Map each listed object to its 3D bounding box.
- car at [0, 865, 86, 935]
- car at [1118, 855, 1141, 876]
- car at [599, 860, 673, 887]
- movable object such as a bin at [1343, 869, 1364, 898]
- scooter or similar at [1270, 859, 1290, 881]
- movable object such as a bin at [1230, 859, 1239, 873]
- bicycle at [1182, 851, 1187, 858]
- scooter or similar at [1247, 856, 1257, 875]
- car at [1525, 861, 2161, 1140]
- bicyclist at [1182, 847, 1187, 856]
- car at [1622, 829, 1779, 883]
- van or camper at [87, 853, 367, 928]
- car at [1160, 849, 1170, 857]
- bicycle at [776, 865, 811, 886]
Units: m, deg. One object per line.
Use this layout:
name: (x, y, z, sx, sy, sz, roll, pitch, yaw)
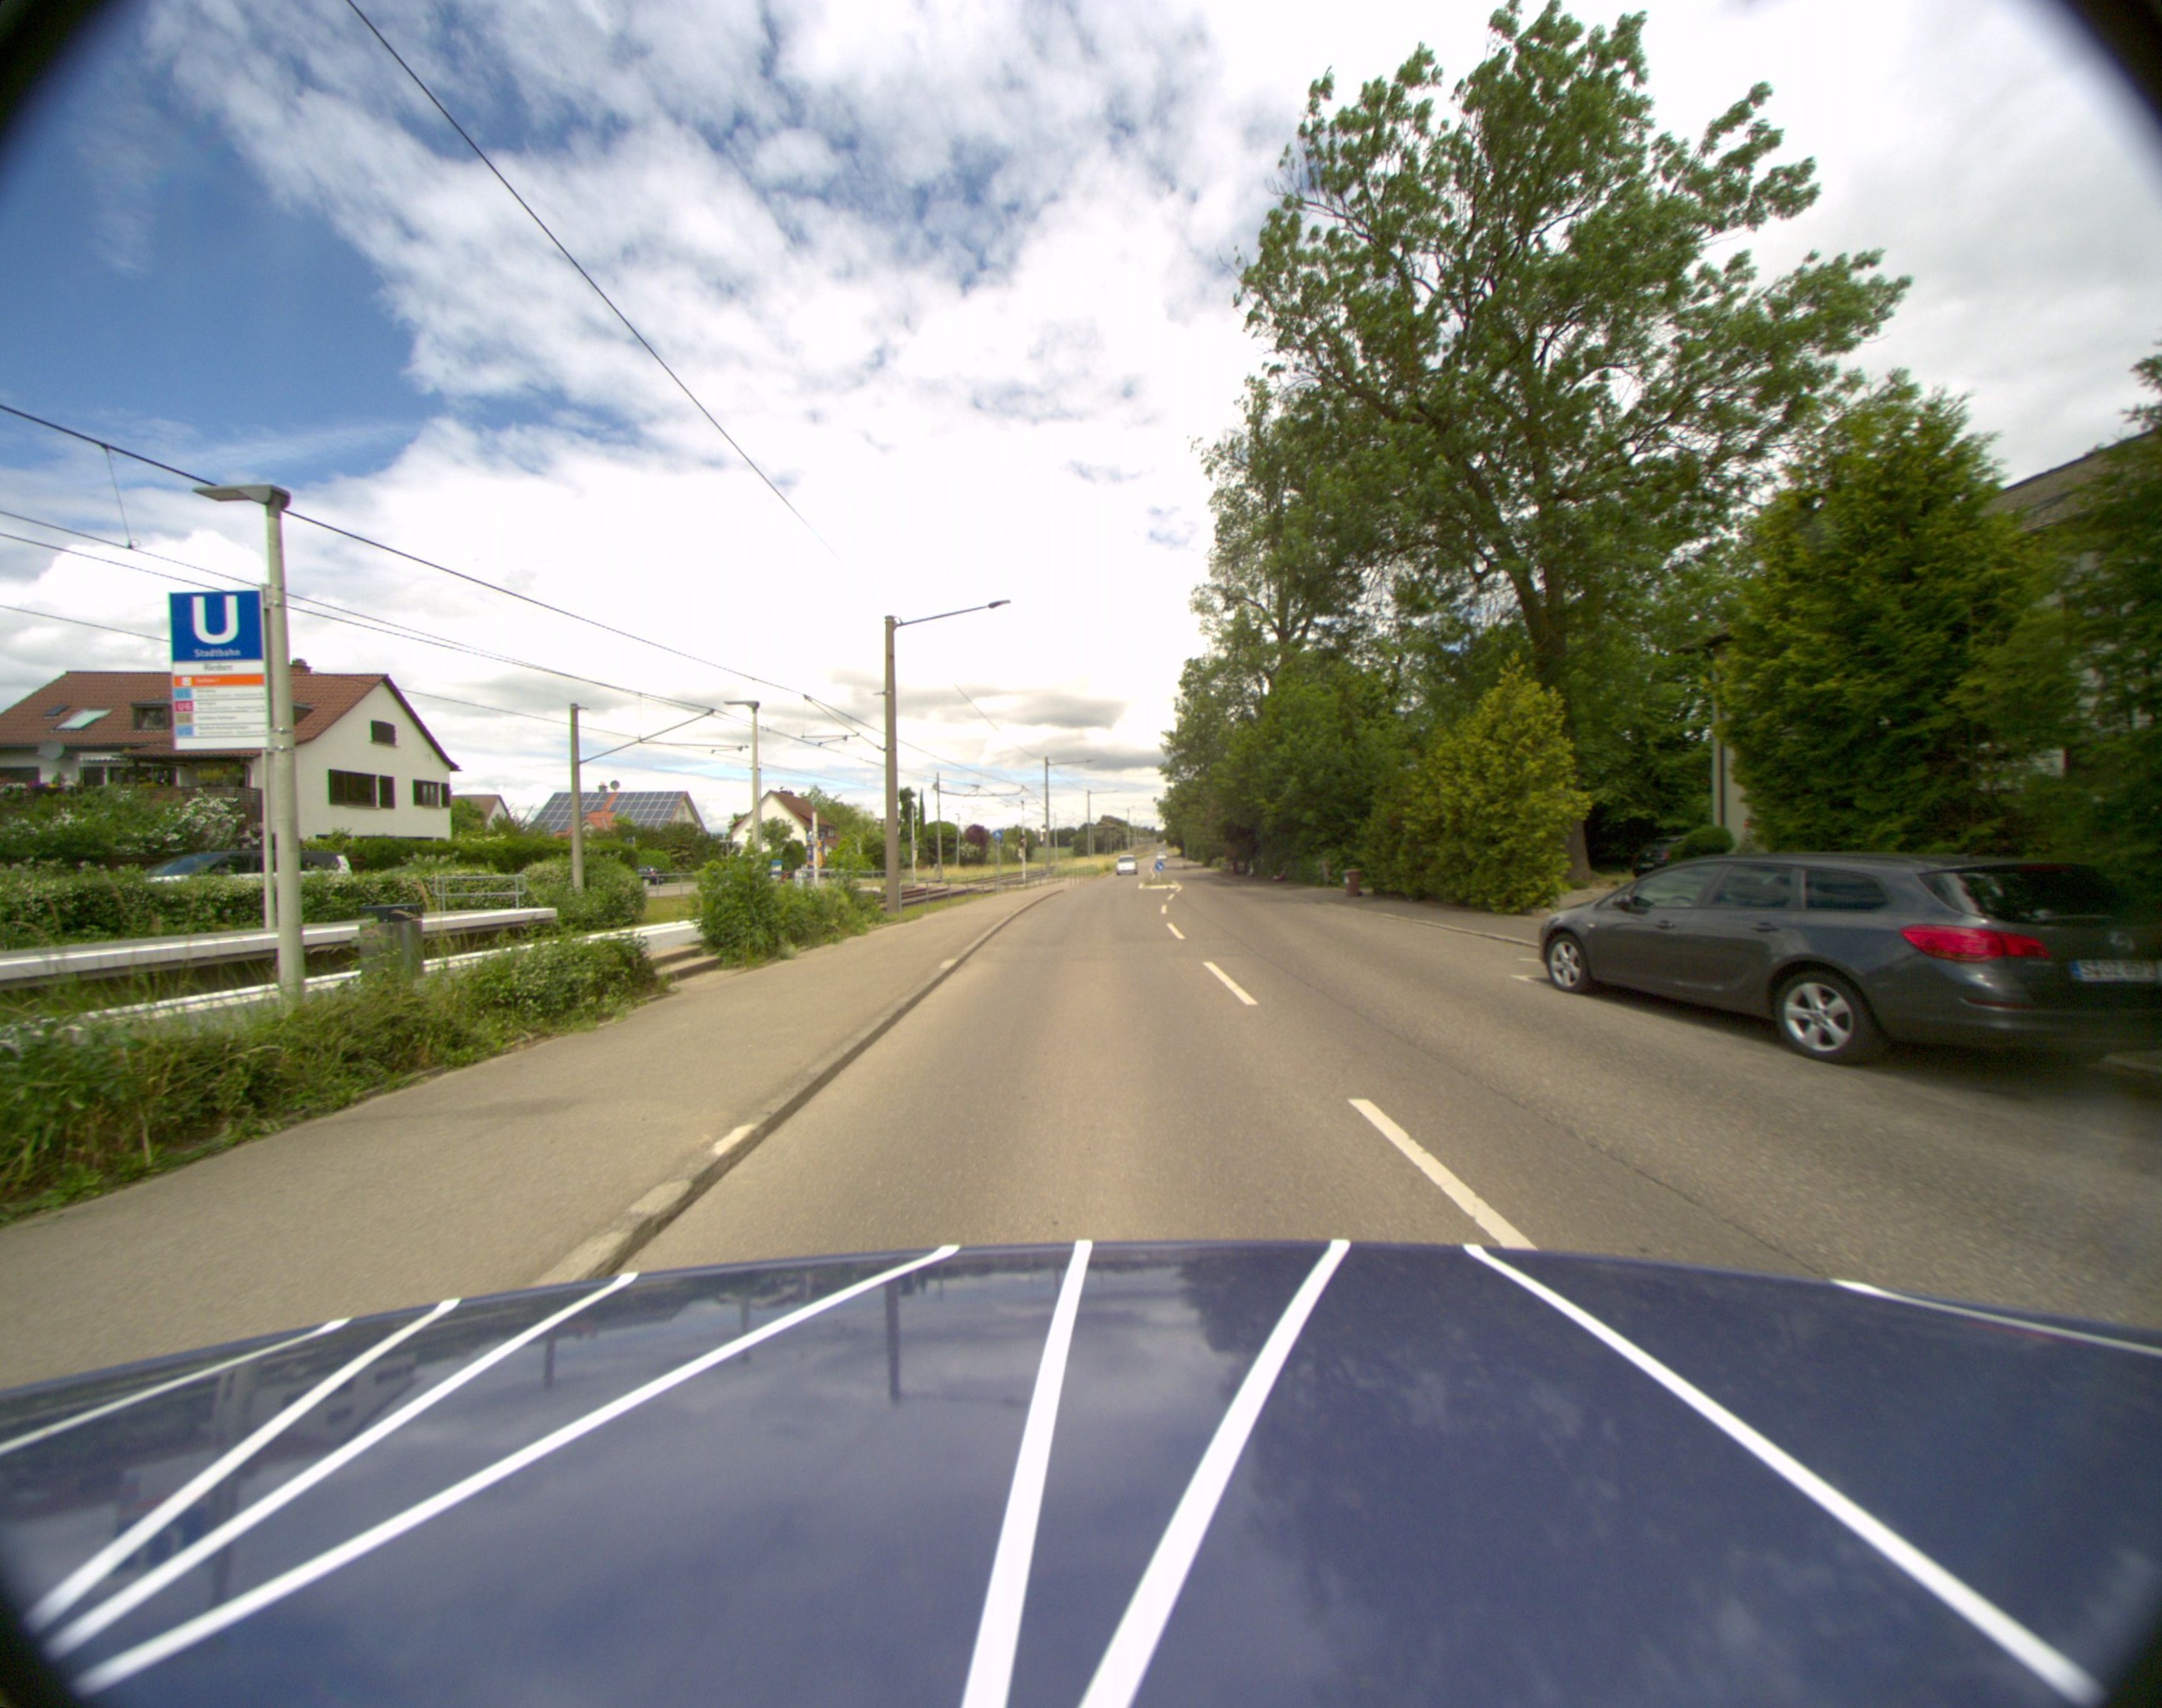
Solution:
car: (-24.563, 1.045, 15.948, 1.887, 1.513, 4.002, -1, 0, 7)
car: (4.088, 0.898, 63.046, 1.642, 1.510, 3.870, -3, 1, 6)
car: (-29.085, 1.238, 49.737, 3.731, 1.614, 1.824, -1, 1, -8)
movable object such as a bin: (9.283, 1.010, 25.866, 0.464, 0.925, 0.429, -5, 2, -11)
scooter or similar: (10.409, 0.833, 39.759, 0.479, 1.074, 1.212, -3, 1, -12)
movable object such as a bin: (10.834, 0.841, 53.521, 0.514, 0.939, 0.569, -2, 1, 6)
bicycle: (18.325, 0.043, 134.205, 0.756, 1.219, 2.309, 0, 1, 6)
scooter or similar: (10.789, 0.718, 48.005, 0.409, 1.192, 1.640, -1, 1, 7)
car: (5.958, 0.836, 6.454, 1.741, 1.496, 4.477, 0, 0, 0)
bicyclist: (18.340, -0.393, 134.381, 0.780, 1.540, 0.870, -1, 1, 6)
car: (20.920, 0.055, 25.756, 3.878, 1.674, 1.883, -2, 1, -3)
van or camper: (-23.778, 0.927, 21.555, 1.909, 1.815, 5.049, -1, 0, 6)
car: (15.384, -0.243, 139.023, 1.697, 1.422, 3.788, 1, 1, 7)
bicycle: (-15.904, 1.233, 42.091, 0.539, 1.039, 2.542, 10, -1, 7)
